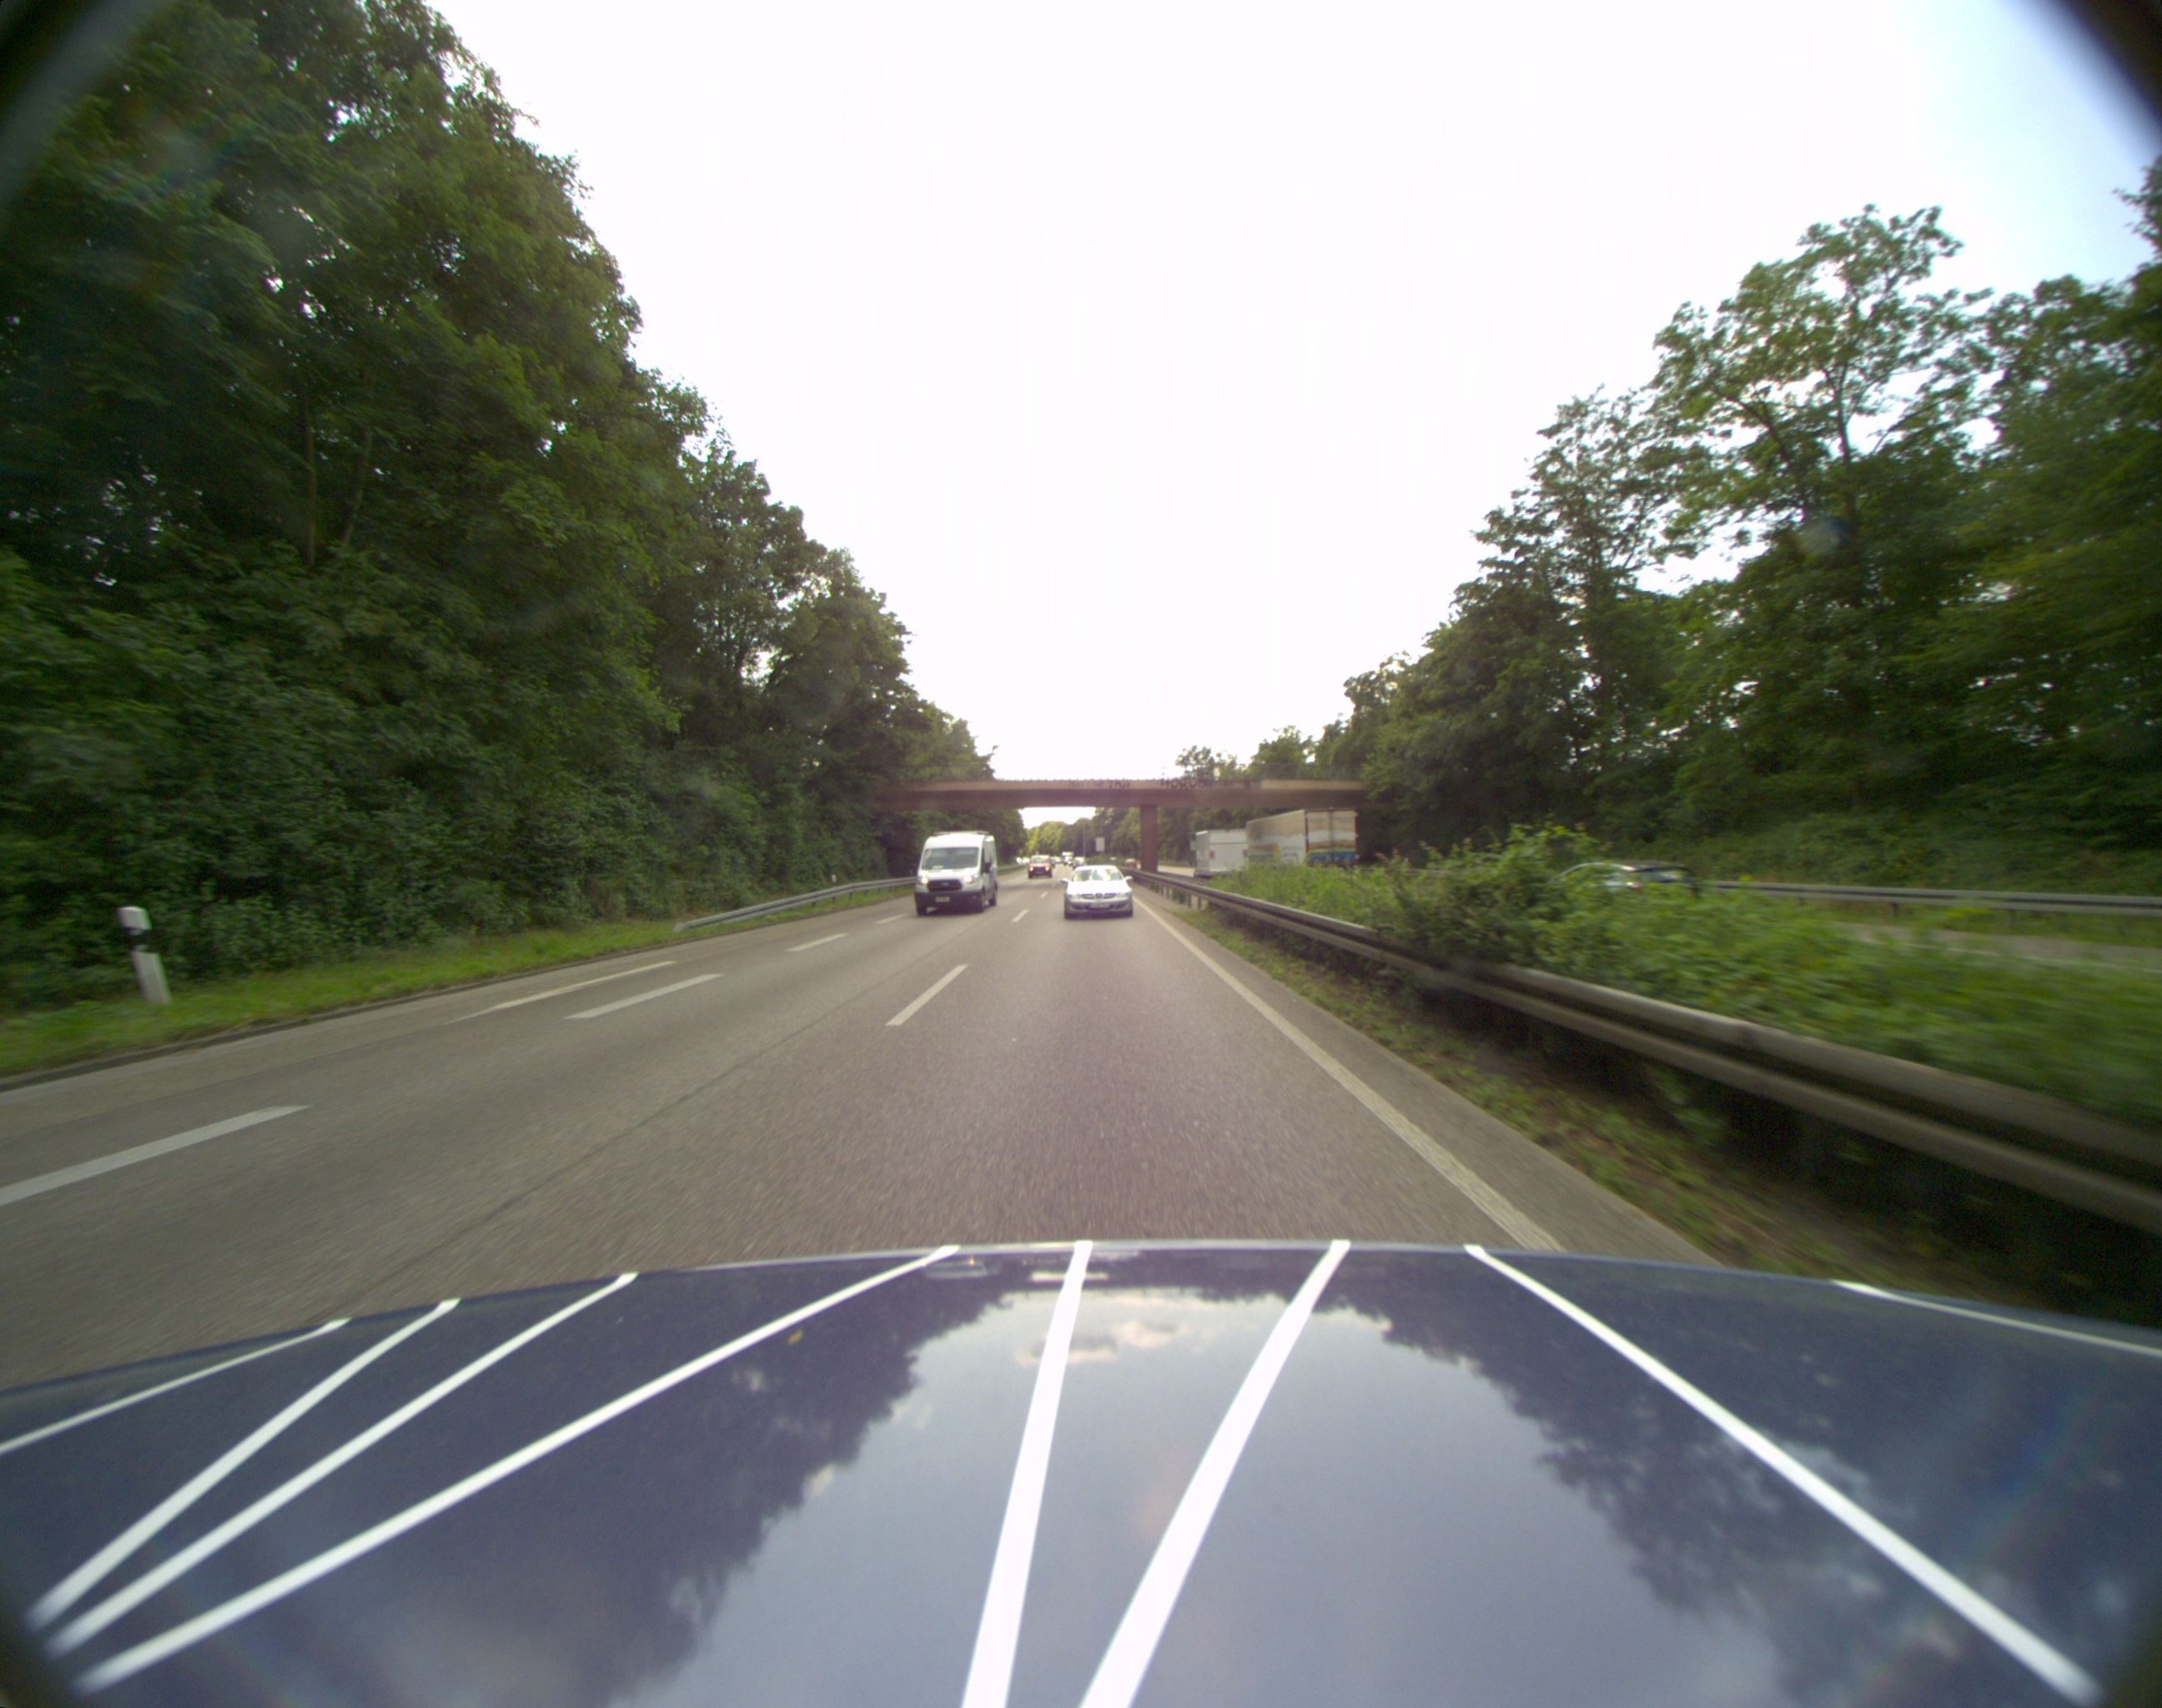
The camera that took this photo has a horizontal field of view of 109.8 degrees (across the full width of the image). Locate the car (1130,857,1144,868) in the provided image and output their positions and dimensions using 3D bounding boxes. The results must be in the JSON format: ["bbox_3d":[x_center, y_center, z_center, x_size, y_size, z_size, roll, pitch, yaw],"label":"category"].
[{"bbox_3d":[8.326,1.268,113.867,1.689,1.468,4.436,-1,0,-1],"label":"car"}]

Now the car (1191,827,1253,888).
[{"bbox_3d":[7.940,0.193,43.533,2.294,3.214,7.286,-1,0,1],"label":"car"}]

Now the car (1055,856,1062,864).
[{"bbox_3d":[-6.098,1.616,206.558,1.725,2.002,4.000,-1,0,0],"label":"car"}]

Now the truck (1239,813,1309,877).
[{"bbox_3d":[12.716,-0.568,50.750,3.047,3.963,6.748,-1,0,1],"label":"truck"}]

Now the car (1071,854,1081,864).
[{"bbox_3d":[-0.826,0.804,126.814,1.472,1.560,3.294,-1,0,-2],"label":"car"}]

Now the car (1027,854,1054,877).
[{"bbox_3d":[-3.331,0.941,63.249,1.908,1.795,4.395,-2,0,1],"label":"car"}]

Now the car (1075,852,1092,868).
[{"bbox_3d":[0.343,0.730,97.403,1.998,2.002,4.000,-1,0,1],"label":"car"}]

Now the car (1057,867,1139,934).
[{"bbox_3d":[0.370,1.053,19.176,1.751,1.295,5.223,-2,0,0],"label":"car"}]

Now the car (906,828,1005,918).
[{"bbox_3d":[-3.862,0.545,24.405,2.104,2.493,5.279,-2,0,1],"label":"car"}]

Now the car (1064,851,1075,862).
[{"bbox_3d":[-2.224,0.398,143.899,1.999,2.002,3.999,-1,0,-2],"label":"car"}]

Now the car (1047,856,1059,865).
[{"bbox_3d":[-4.584,1.077,125.234,1.889,1.516,3.999,-1,0,-1],"label":"car"}]

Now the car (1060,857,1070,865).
[{"bbox_3d":[-3.291,1.392,156.313,1.699,1.579,4.001,-1,0,3],"label":"car"}]

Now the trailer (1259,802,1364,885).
[{"bbox_3d":[12.499,-0.519,42.351,3.067,4.018,9.974,-1,0,2],"label":"trailer"}]

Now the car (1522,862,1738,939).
[{"bbox_3d":[12.193,0.941,17.315,1.739,1.464,4.470,-1,0,1],"label":"car"}]
